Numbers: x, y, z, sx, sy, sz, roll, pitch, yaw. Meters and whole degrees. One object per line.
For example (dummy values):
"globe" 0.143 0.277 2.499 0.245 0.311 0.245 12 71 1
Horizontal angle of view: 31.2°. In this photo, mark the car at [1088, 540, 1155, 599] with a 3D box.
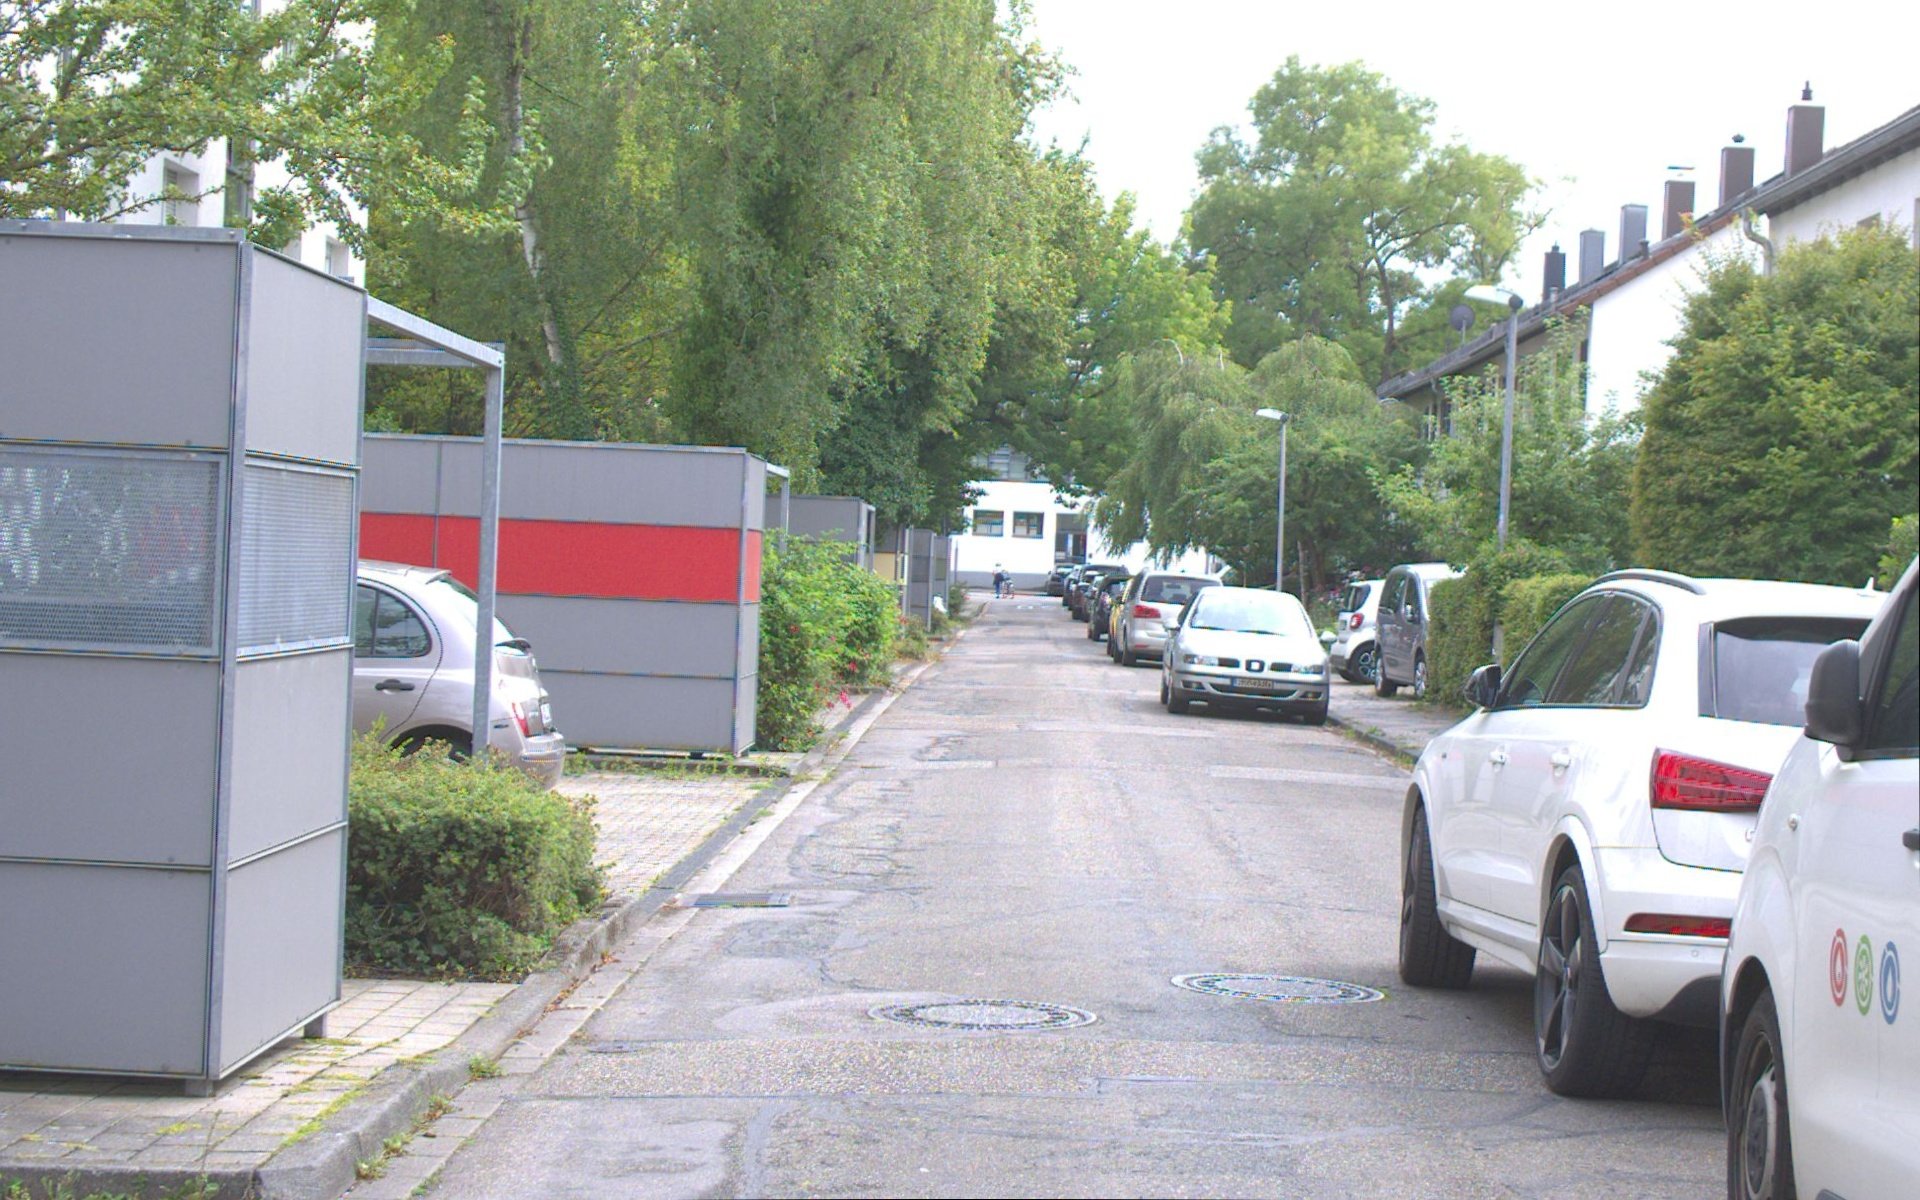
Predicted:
"car" 4.810 -0.923 102.594 1.825 1.576 4.000 4 1 2

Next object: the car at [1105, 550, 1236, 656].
"car" 3.473 0.018 57.398 1.825 1.576 4.000 4 1 0

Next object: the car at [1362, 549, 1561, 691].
"car" 6.566 0.240 45.448 1.825 1.771 4.341 0 0 -2

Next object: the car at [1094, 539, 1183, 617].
"car" 3.998 -0.510 77.570 1.825 1.576 4.193 4 1 2

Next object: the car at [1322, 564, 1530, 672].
"car" 6.894 0.256 51.042 2.816 1.564 1.741 0 1 -1

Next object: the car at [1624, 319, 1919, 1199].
"car" 2.568 0.551 5.564 1.904 1.958 5.253 4 1 1

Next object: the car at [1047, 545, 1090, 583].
"car" 4.902 -1.635 155.145 1.825 1.576 4.000 4 1 2

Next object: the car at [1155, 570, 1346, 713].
"car" 3.218 0.425 38.805 1.825 1.365 4.330 4 1 2

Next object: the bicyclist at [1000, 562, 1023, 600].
"bicyclist" 2.134 -0.791 142.203 0.798 1.506 0.934 4 1 3

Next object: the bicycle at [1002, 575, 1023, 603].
"bicycle" 2.182 -0.464 142.135 0.689 1.127 2.579 4 1 3

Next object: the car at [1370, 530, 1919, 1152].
"car" 2.622 0.649 11.375 1.825 1.630 4.162 4 1 -2

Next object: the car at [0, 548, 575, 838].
"car" -3.996 0.481 19.107 3.561 1.475 1.711 1 1 -3

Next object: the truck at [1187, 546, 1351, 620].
"truck" 8.579 -0.473 95.672 4.390 2.007 2.000 1 1 1
